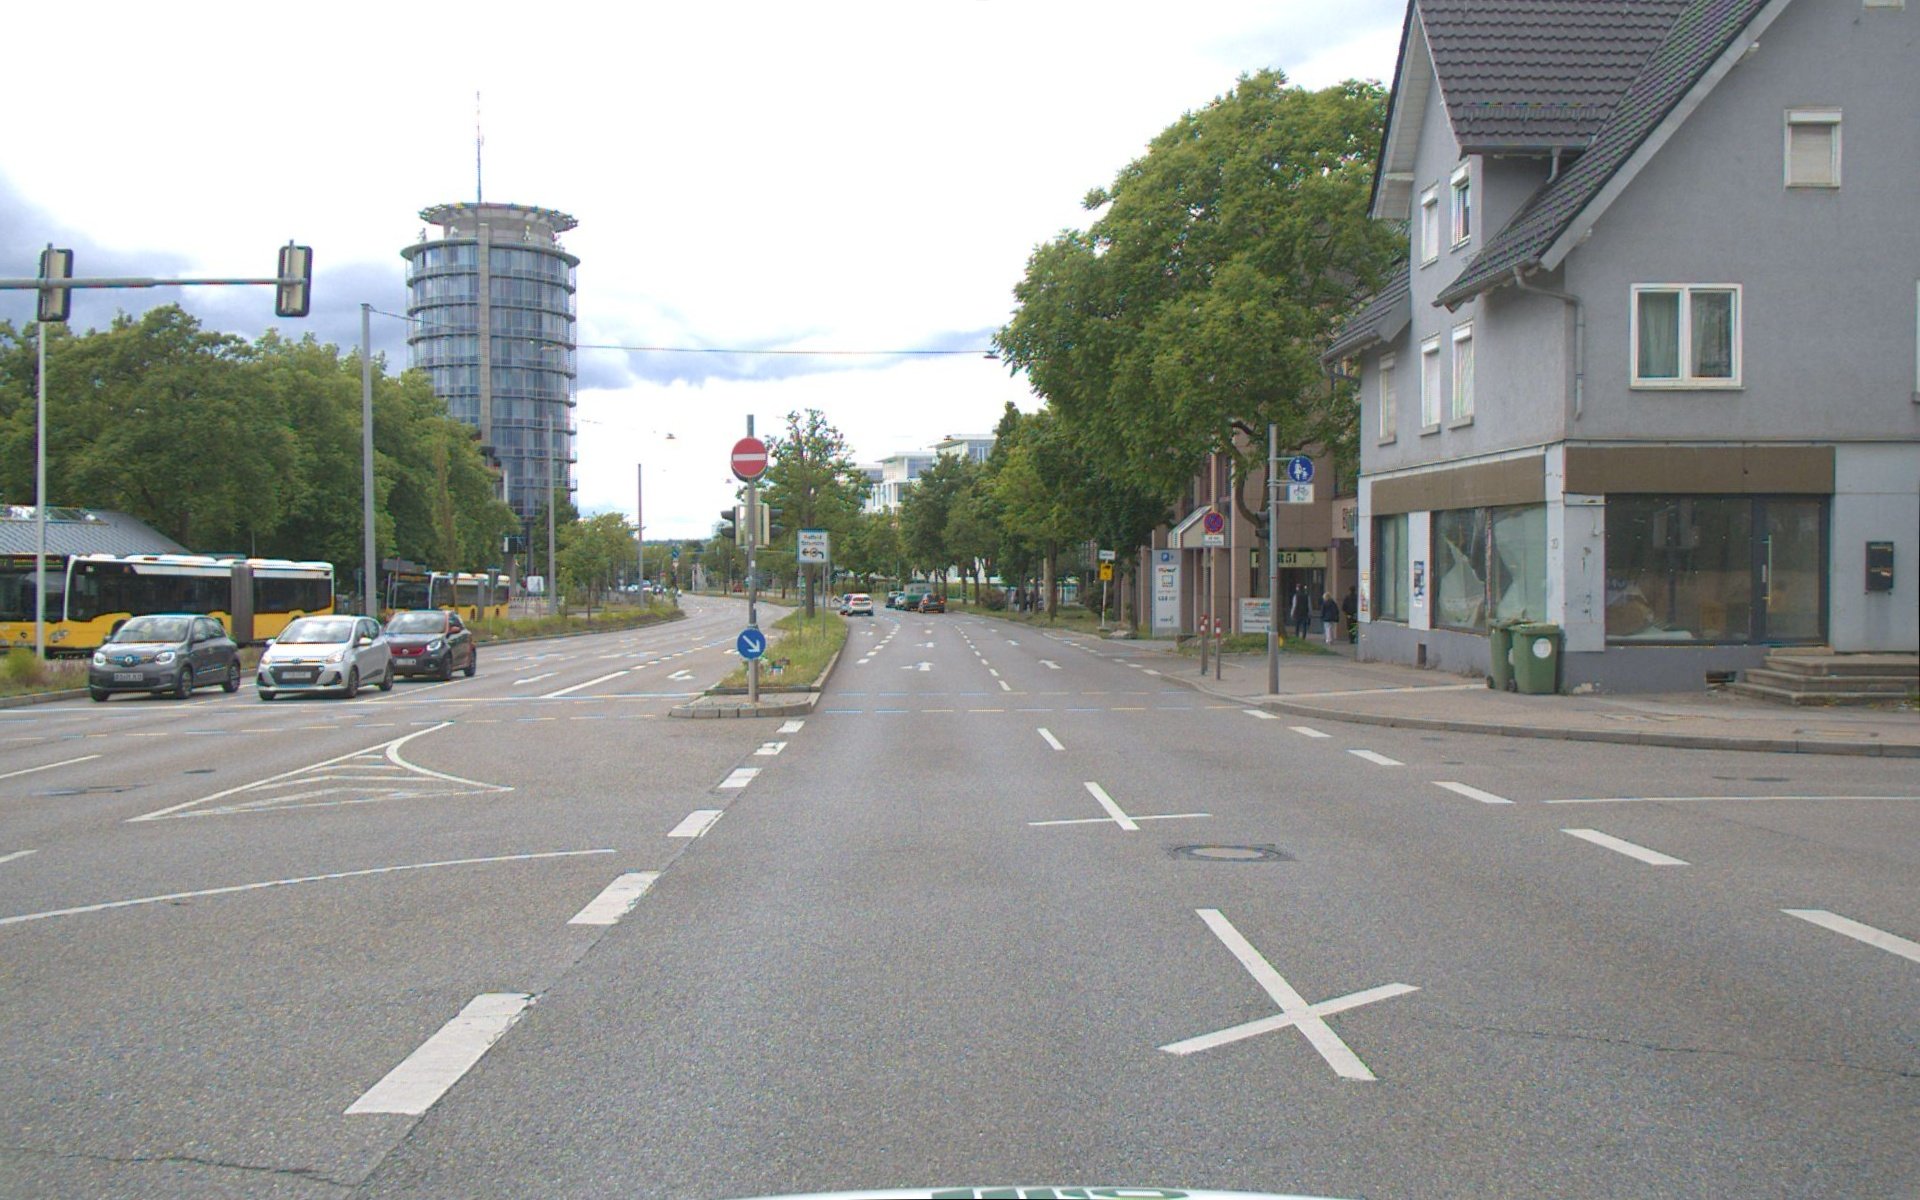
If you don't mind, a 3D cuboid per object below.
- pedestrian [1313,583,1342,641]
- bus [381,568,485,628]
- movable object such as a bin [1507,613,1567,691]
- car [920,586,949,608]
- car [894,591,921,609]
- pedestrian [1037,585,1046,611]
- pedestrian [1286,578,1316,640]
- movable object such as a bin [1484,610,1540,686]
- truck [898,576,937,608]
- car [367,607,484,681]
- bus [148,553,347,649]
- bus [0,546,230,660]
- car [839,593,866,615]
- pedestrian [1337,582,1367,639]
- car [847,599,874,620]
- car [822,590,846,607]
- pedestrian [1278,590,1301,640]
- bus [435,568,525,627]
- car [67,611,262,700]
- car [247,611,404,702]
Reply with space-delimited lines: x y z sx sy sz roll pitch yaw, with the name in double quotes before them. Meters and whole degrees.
"pedestrian" 11.241 0.357 50.601 0.644 1.720 0.842 -2 0 -1
"bus" -29.797 -0.136 94.062 3.022 3.218 10.730 1 0 -3
"movable object such as a bin" 8.447 0.754 24.218 0.613 1.123 0.709 0 0 -2
"car" -1.971 -0.265 126.192 1.954 1.624 3.997 -1 0 -4
"car" -4.621 0.002 144.984 1.956 1.534 3.992 -1 1 -9
"pedestrian" 5.459 -0.127 110.563 0.556 1.729 0.829 -1 0 -1
"pedestrian" 10.440 0.285 50.639 0.644 1.858 0.842 -2 0 -1
"movable object such as a bin" 8.347 0.719 25.009 0.596 1.123 0.709 0 0 -2
"truck" -3.577 -0.631 137.640 2.804 2.563 6.280 -1 0 -5
"car" -11.881 0.940 36.972 1.626 1.534 3.765 -1 0 -5
"bus" -25.986 0.013 60.955 2.750 3.187 9.304 1 0 3
"bus" -26.405 0.041 51.677 2.718 3.187 9.441 1 0 2
"car" -8.334 0.311 127.448 1.955 1.701 3.995 -1 0 -5
"pedestrian" 11.990 0.314 50.600 0.644 1.720 0.842 -2 0 -1
"car" -7.348 0.677 121.751 1.827 1.474 3.995 -1 0 -5
"car" -11.682 -0.129 153.153 1.953 1.534 3.999 0 0 -1
"pedestrian" 10.430 0.474 52.373 0.550 1.577 0.544 -2 0 -1
"bus" -30.148 -0.171 104.416 2.970 3.516 9.908 1 0 -1
"car" -14.971 1.003 31.359 1.778 1.534 3.999 -1 0 -1
"car" -11.829 1.008 31.078 1.711 1.491 3.787 0 1 -4
